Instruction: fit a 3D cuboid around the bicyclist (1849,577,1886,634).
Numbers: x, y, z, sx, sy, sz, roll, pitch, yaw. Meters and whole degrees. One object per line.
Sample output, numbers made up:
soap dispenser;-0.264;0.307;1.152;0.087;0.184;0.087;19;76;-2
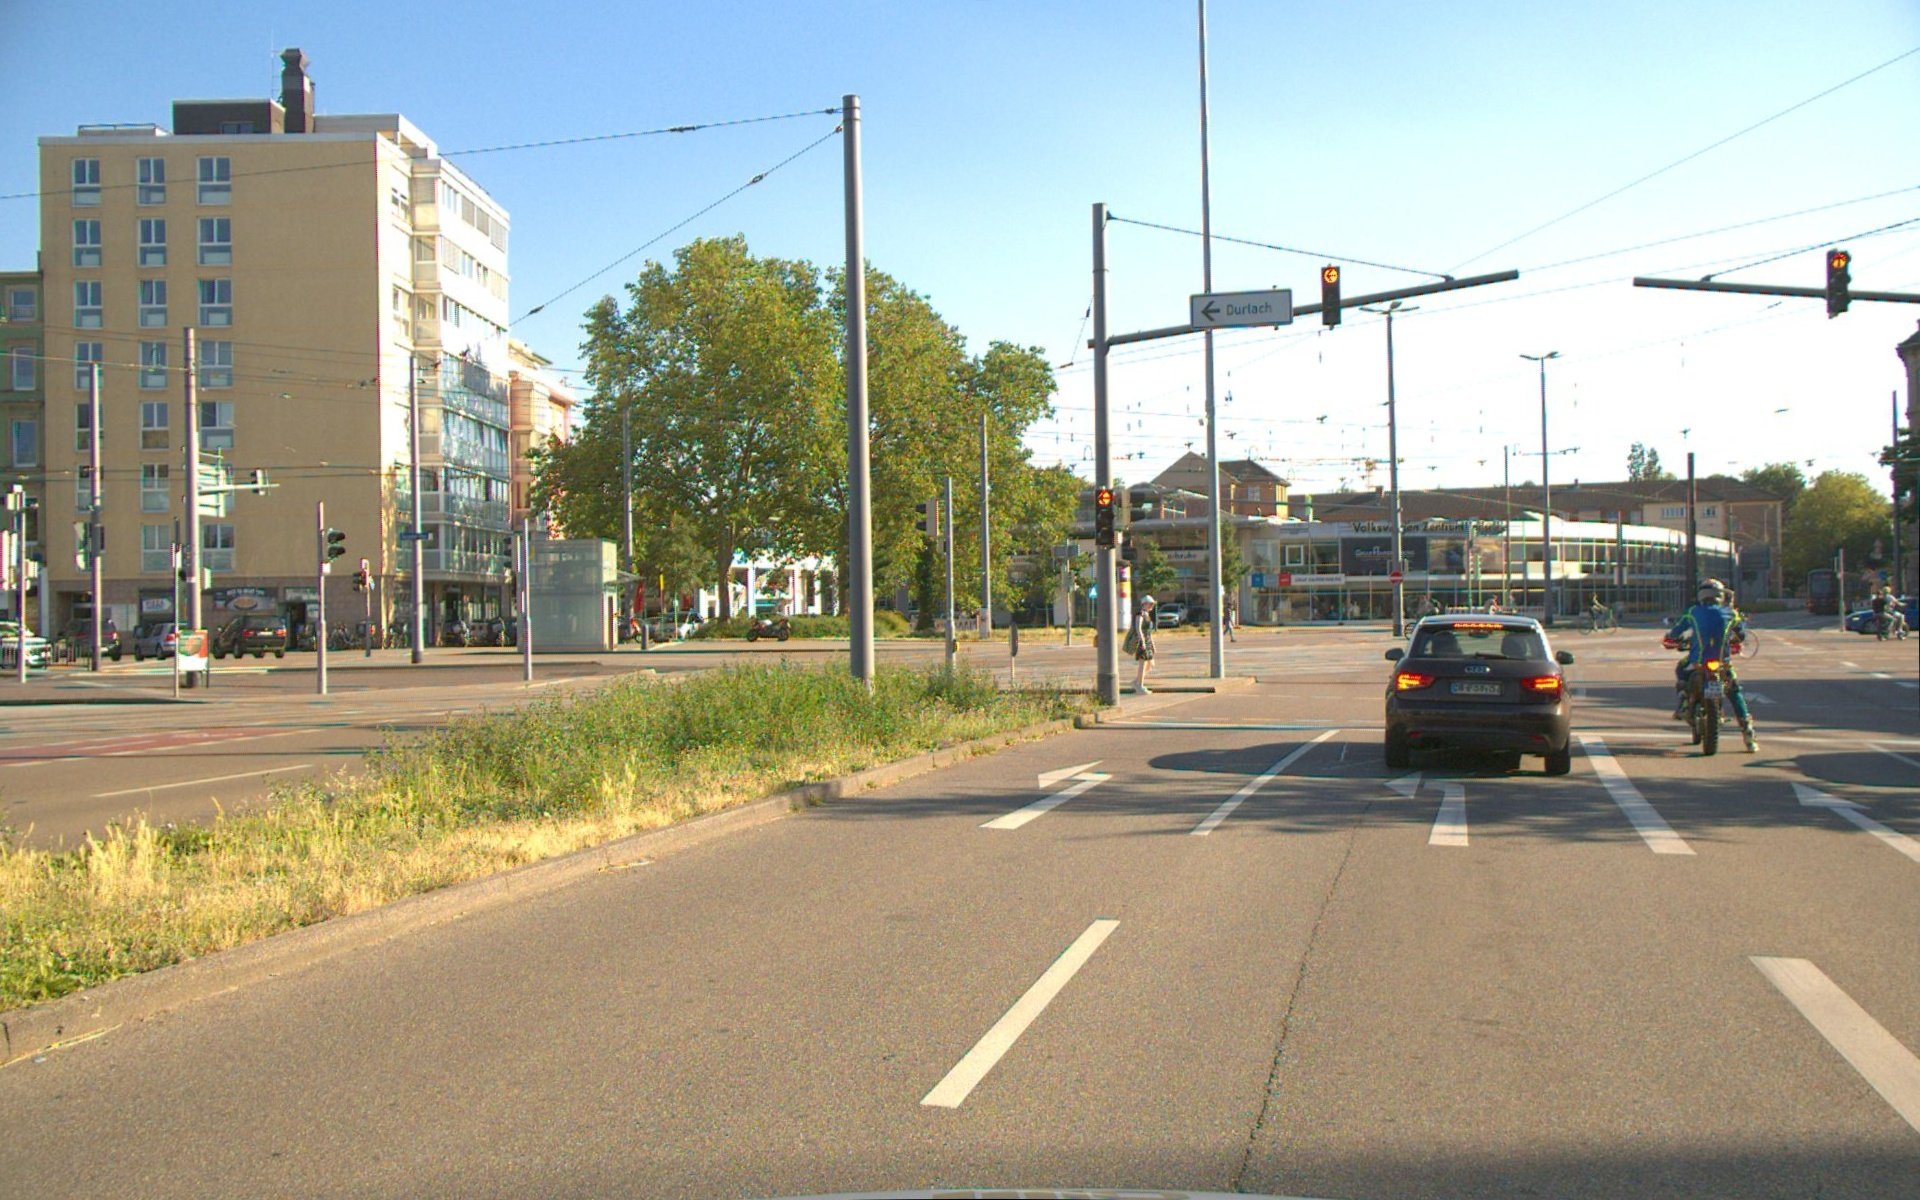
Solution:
bicyclist;29.404;0.184;53.624;0.574;1.809;0.861;-1;-1;-22

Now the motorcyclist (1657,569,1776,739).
motorcyclist;8.062;0.561;17.683;1.073;1.751;0.937;0;-1;20

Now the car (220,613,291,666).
car;-28.069;1.540;65.848;1.832;1.889;3.951;-1;2;-35

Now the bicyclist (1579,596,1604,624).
bicyclist;27.060;0.407;70.879;0.699;1.163;0.835;-1;1;-10

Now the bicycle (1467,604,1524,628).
bicycle;23.678;0.714;73.205;2.249;0.996;0.860;-1;1;-2

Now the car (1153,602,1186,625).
car;15.099;0.955;118.890;1.951;1.561;4.004;0;2;13

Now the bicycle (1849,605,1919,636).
bicycle;30.163;0.673;53.931;2.265;0.921;0.854;-1;2;-24

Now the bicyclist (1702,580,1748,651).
bicyclist;19.035;0.370;41.154;0.730;1.720;0.860;-1;1;-3

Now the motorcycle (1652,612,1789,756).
motorcycle;8.033;0.837;17.603;1.073;1.401;2.654;0;-1;19

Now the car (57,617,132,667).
car;-34.336;1.629;65.559;1.823;1.749;3.942;-2;2;-40

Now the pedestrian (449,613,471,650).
pedestrian;-23.191;1.441;76.726;0.759;1.705;0.783;-1;-1;2

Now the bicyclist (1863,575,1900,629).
bicyclist;29.985;0.059;53.842;0.640;1.720;0.854;-1;1;-23

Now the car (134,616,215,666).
car;-31.162;1.585;65.577;1.825;1.778;3.938;-2;2;-42

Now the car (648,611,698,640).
car;-15.374;1.352;88.684;1.808;1.477;4.001;0;0;3

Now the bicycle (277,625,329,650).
bicycle;-29.302;1.669;73.802;2.000;1.109;0.777;-1;-1;-1

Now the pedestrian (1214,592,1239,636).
pedestrian;11.436;0.593;70.965;0.968;1.848;0.920;0;1;17

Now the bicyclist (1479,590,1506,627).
bicyclist;23.567;0.375;73.207;0.905;1.586;0.860;-1;1;-1

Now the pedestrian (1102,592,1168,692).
pedestrian;2.946;0.700;27.835;1.069;1.634;0.699;0;1;8

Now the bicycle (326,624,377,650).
bicycle;-27.163;1.649;73.841;2.000;1.109;0.777;-1;-1;-1

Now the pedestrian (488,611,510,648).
pedestrian;-21.433;1.358;76.920;0.759;1.705;0.783;-1;-1;2

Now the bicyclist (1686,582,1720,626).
bicyclist;33.570;0.161;74.782;1.048;1.933;1.123;0;1;0

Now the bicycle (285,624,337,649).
bicycle;-29.306;1.644;74.675;2.000;1.109;0.777;-1;-1;-1

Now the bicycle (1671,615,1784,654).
bicycle;19.093;0.850;41.166;2.443;0.889;0.860;-1;1;-3

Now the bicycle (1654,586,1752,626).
bicycle;33.572;0.277;74.772;3.905;1.719;1.139;-1;1;0

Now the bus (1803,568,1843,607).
bus;69.040;-1.066;132.178;2.311;2.933;9.558;0;2;31

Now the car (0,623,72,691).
car;-30.670;1.810;52.649;3.658;2.048;2.000;-1;1;-1

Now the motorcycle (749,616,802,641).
motorcycle;-8.220;1.268;73.777;2.236;1.072;0.688;0;1;5

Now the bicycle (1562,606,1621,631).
bicycle;27.052;0.782;70.890;2.254;0.976;0.858;-1;1;-10

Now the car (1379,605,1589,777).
car;5.252;0.796;16.530;1.763;1.469;3.980;1;0;18

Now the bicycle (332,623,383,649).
bicycle;-27.217;1.625;74.689;2.000;1.109;0.777;-1;-1;-1

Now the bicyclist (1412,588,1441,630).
bicyclist;18.170;0.344;64.444;0.904;1.587;0.963;-1;-1;3

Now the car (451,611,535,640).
car;-24.552;1.332;87.029;3.908;1.447;1.812;-1;-1;-4

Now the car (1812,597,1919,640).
car;36.377;0.712;65.462;4.508;1.622;1.953;-1;-1;22

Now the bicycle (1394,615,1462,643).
bicycle;18.220;1.122;64.445;2.387;1.021;0.963;-1;-1;3

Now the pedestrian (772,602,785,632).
pedestrian;-12.218;1.148;111.341;0.576;2.049;0.711;-1;-1;18

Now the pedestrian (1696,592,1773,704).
pedestrian;12.080;0.740;25.813;0.814;1.701;0.694;-1;-1;-21
